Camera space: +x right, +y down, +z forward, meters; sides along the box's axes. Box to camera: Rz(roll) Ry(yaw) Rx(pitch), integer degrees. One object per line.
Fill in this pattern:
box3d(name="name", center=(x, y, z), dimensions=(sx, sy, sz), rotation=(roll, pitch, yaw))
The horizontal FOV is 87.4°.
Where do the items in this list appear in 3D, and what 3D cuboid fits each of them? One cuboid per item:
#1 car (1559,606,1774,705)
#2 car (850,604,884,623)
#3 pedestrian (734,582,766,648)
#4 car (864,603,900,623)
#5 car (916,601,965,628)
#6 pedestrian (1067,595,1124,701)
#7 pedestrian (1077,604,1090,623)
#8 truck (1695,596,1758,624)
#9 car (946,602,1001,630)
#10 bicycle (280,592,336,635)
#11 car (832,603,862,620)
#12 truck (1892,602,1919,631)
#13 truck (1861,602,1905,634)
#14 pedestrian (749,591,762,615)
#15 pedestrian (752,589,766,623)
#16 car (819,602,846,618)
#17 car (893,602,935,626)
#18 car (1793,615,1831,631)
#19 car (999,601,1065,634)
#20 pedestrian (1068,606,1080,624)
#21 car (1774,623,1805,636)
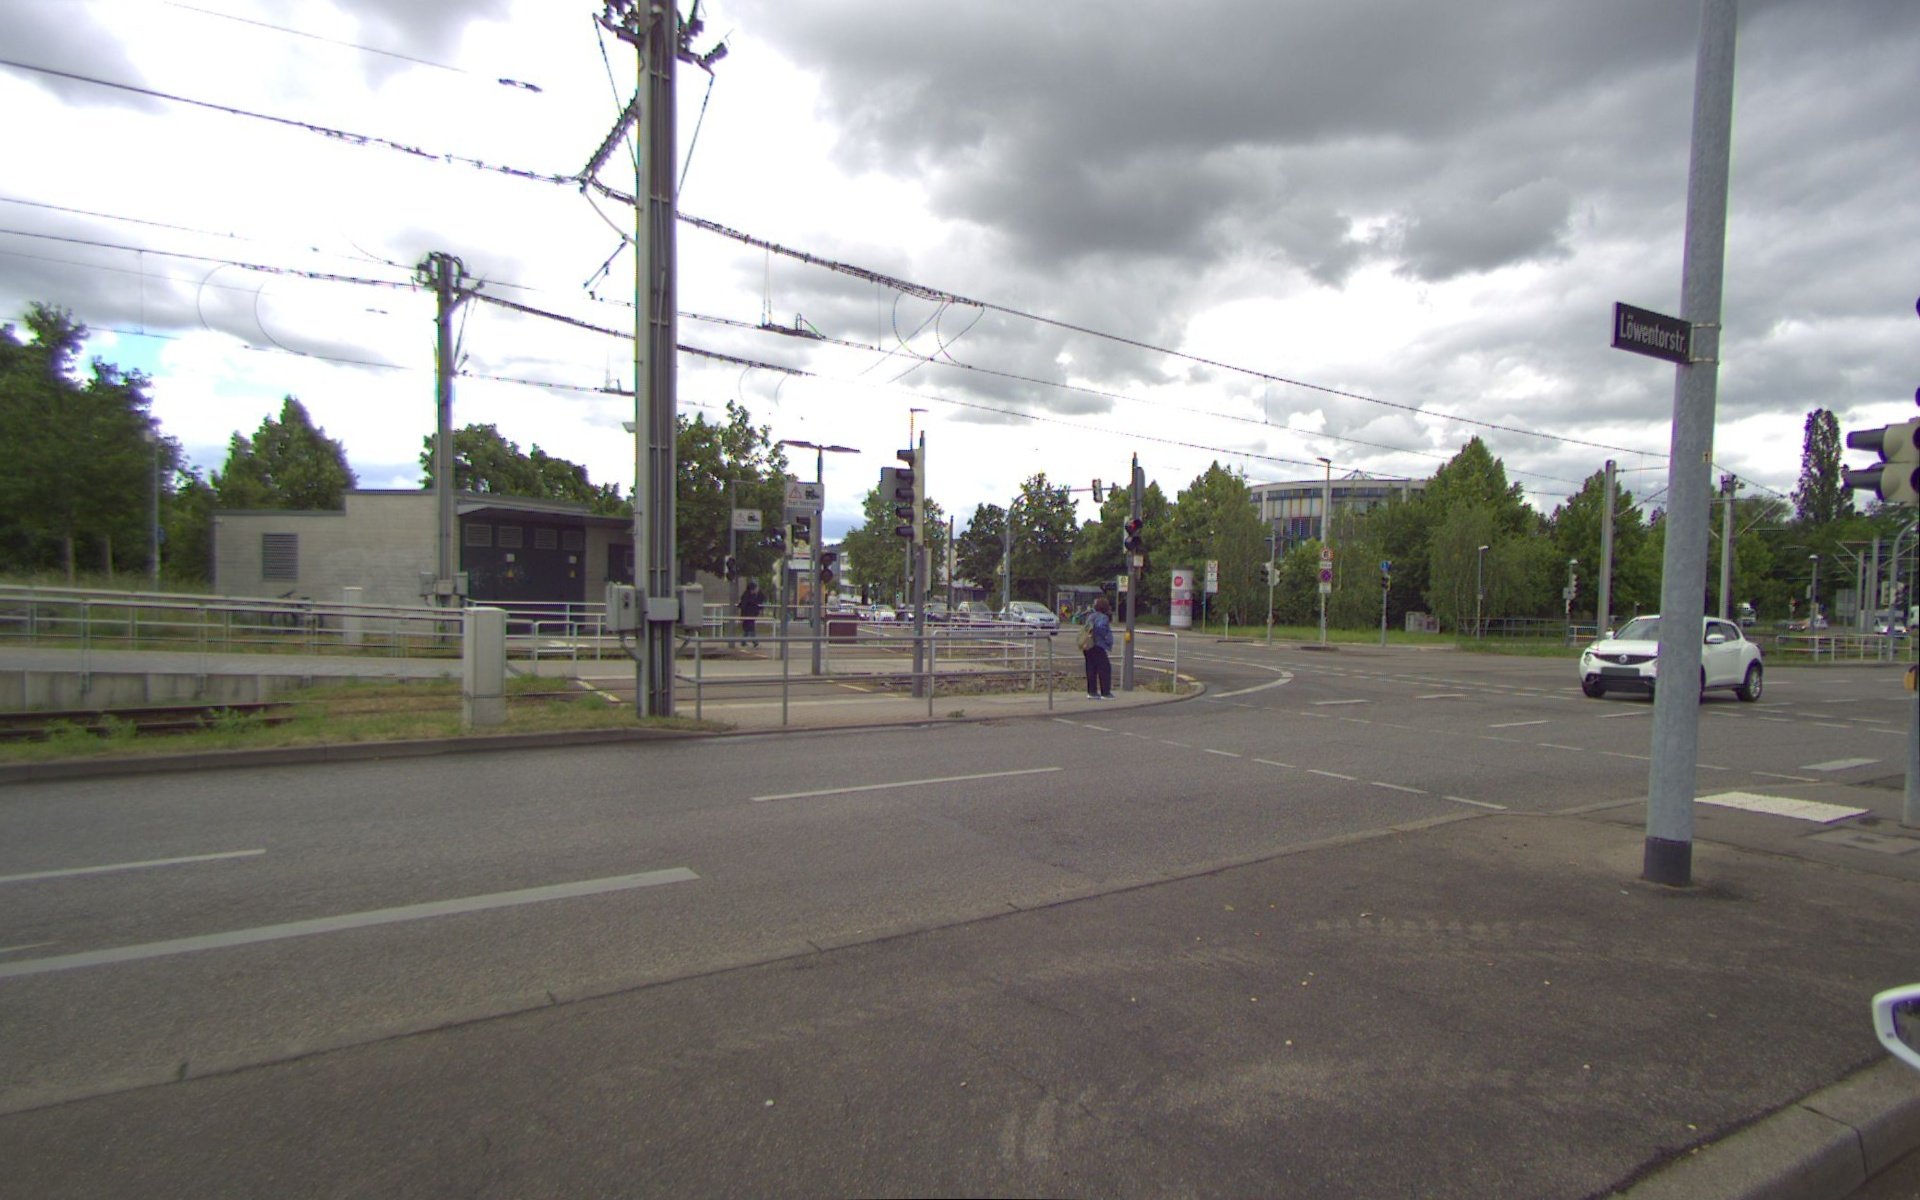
box3d(name="car", center=(13.231, 0.973, 18.746), dimensions=(4.378, 1.650, 1.818), rotation=(1, -1, -33))
box3d(name="car", center=(-7.417, 1.024, 79.681), dimensions=(1.706, 1.456, 3.991), rotation=(1, 0, -20))
box3d(name="pedestrian", center=(-5.284, 0.376, 25.286), dimensions=(0.695, 1.628, 0.655), rotation=(1, 0, -20))
box3d(name="car", center=(-5.811, 0.964, 74.778), dimensions=(1.706, 1.456, 3.731), rotation=(1, 0, -20))
box3d(name="car", center=(-1.148, 0.817, 58.162), dimensions=(1.706, 1.456, 3.731), rotation=(1, 0, -20))
box3d(name="pedestrian", center=(2.087, 0.717, 15.437), dimensions=(0.701, 1.584, 0.533), rotation=(1, 1, -44))
box3d(name="pedestrian", center=(8.784, 0.987, 71.600), dimensions=(0.652, 1.322, 0.780), rotation=(1, 0, -16))
box3d(name="truck", center=(110.566, 1.488, 145.204), dimensions=(2.998, 3.810, 12.816), rotation=(2, 0, 18))
box3d(name="car", center=(0.692, 0.845, 53.666), dimensions=(1.706, 1.456, 3.731), rotation=(1, 0, -20))
box3d(name="bicycle", center=(-17.323, 0.346, 26.674), dimensions=(1.452, 1.101, 0.492), rotation=(1, 0, 22))
box3d(name="car", center=(-9.768, 0.988, 86.712), dimensions=(1.706, 1.456, 3.731), rotation=(1, 0, -20))
box3d(name="truck", center=(113.283, 1.974, 116.116), dimensions=(2.693, 3.373, 11.413), rotation=(1, 0, 12))
box3d(name="truck", center=(94.731, 1.822, 103.154), dimensions=(2.085, 3.176, 5.887), rotation=(2, 0, 31))
box3d(name="pedestrian", center=(-14.267, 0.210, 69.956), dimensions=(0.771, 1.649, 0.660), rotation=(1, 0, -22))
box3d(name="pedestrian", center=(-11.769, 0.351, 58.931), dimensions=(0.738, 1.993, 0.795), rotation=(1, 0, -9))
box3d(name="car", center=(-11.916, 0.963, 94.028), dimensions=(1.706, 1.456, 3.731), rotation=(1, 0, -20))
box3d(name="car", center=(-3.002, 0.889, 64.928), dimensions=(1.706, 1.456, 3.731), rotation=(1, 0, -20))
box3d(name="car", center=(116.231, 3.109, 137.053), dimensions=(1.959, 2.040, 4.002), rotation=(2, 0, 6))
box3d(name="car", center=(3.305, 0.801, 46.807), dimensions=(1.706, 1.456, 3.731), rotation=(1, 0, -20))
box3d(name="pedestrian", center=(8.274, 1.080, 72.850), dimensions=(0.652, 1.321, 0.780), rotation=(1, 0, -16))
box3d(name="car", center=(102.618, 3.654, 124.286), dimensions=(1.752, 1.465, 4.525), rotation=(-1, 0, 22))
